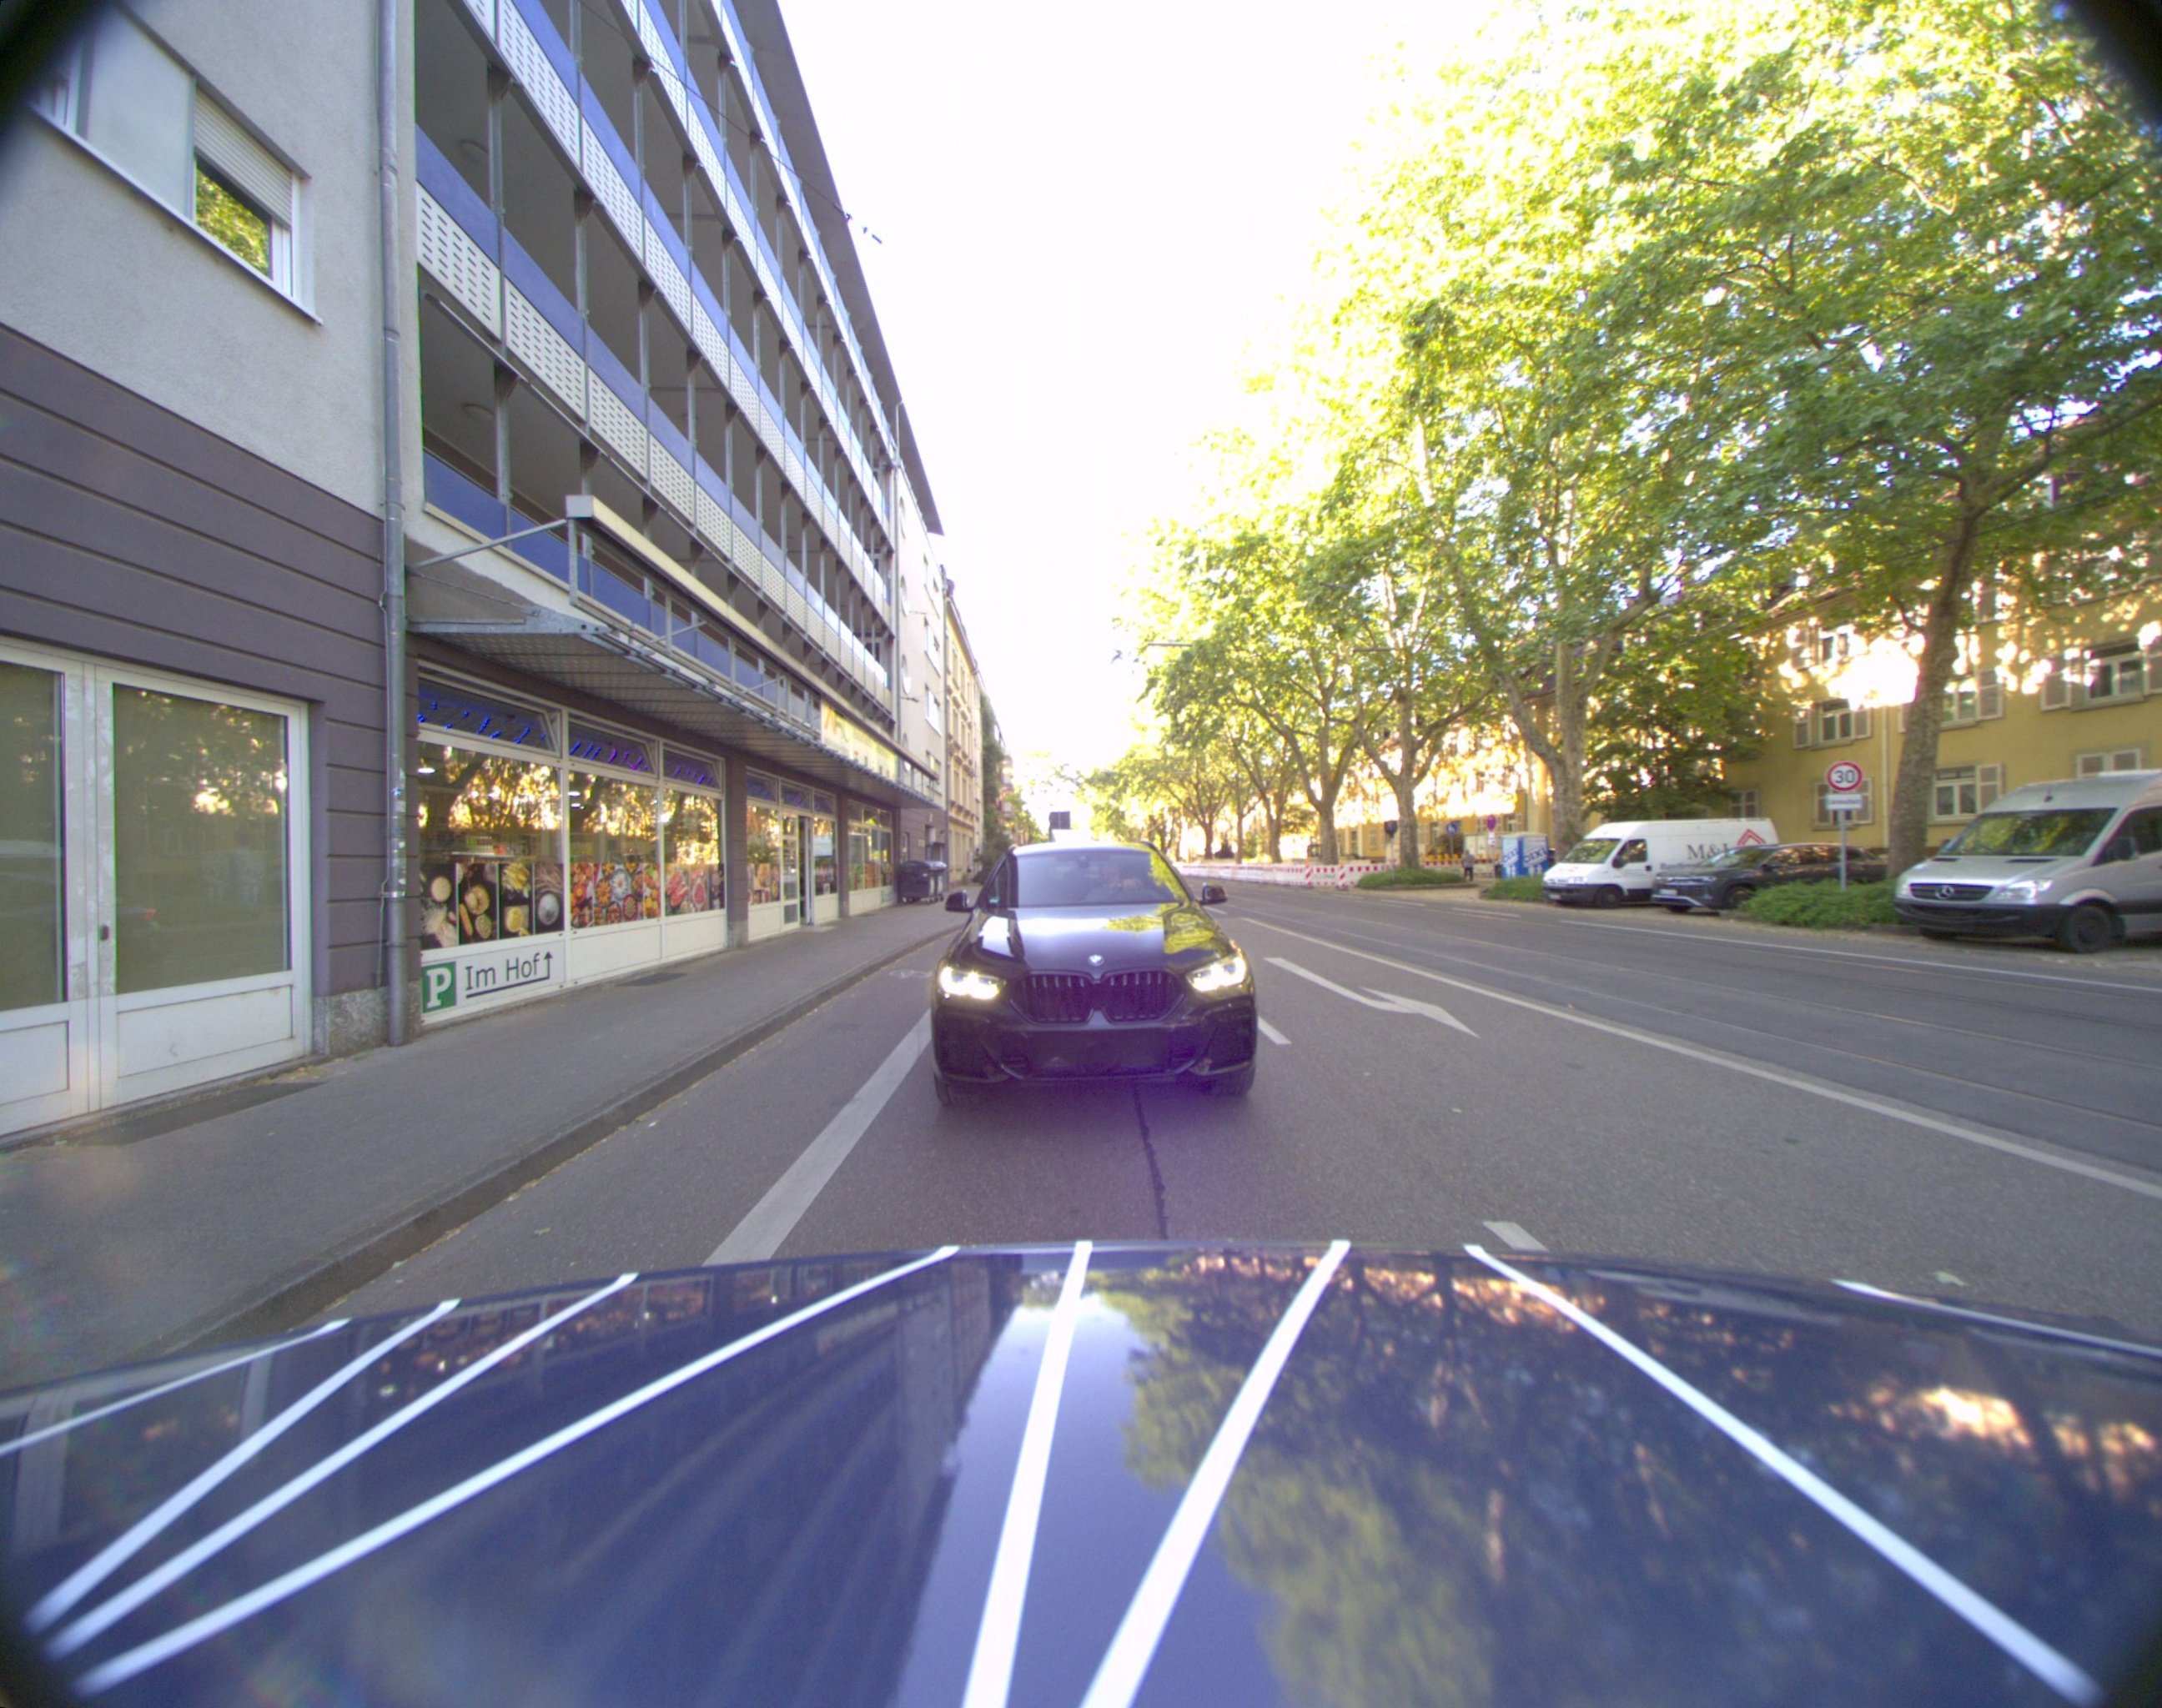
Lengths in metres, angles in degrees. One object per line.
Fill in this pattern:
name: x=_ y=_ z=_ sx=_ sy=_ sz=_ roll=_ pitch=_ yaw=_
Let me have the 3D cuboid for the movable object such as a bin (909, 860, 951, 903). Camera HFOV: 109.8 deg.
movable object such as a bin: x=-5.286 y=0.956 z=26.709 sx=1.122 sy=1.437 sz=1.306 roll=-1 pitch=0 yaw=4

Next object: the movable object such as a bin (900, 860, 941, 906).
movable object such as a bin: x=-5.226 y=0.936 z=24.814 sx=1.069 sy=1.438 sz=1.296 roll=-1 pitch=0 yaw=-1

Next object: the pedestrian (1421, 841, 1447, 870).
pedestrian: x=24.042 y=0.102 z=51.792 sx=1.098 sy=2.002 sz=1.235 roll=-1 pitch=0 yaw=-4

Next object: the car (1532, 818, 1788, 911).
car: x=15.853 y=0.278 z=21.003 sx=5.612 sy=2.361 sz=2.025 roll=-1 pitch=0 yaw=-2

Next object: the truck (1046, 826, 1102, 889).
truck: x=-0.575 y=0.207 z=43.159 sx=2.385 sy=3.165 sz=8.525 roll=2 pitch=0 yaw=-5

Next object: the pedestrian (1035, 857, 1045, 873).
pedestrian: x=-4.544 y=1.236 z=84.333 sx=0.876 sy=1.728 sz=0.848 roll=-3 pitch=1 yaw=1

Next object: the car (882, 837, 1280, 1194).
car: x=0.022 y=0.826 z=6.061 sx=1.943 sy=1.733 sz=4.475 roll=-2 pitch=0 yaw=1

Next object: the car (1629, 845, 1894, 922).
car: x=15.942 y=0.661 z=17.976 sx=4.575 sy=1.621 sz=1.969 roll=-1 pitch=0 yaw=-2

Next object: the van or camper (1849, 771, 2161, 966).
van or camper: x=16.091 y=0.131 z=11.803 sx=6.127 sy=2.661 sz=2.229 roll=-2 pitch=0 yaw=-2

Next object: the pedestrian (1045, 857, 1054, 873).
pedestrian: x=-3.489 y=1.181 z=84.623 sx=0.876 sy=1.728 sz=0.848 roll=-3 pitch=1 yaw=1

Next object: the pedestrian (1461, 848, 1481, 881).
pedestrian: x=18.487 y=0.507 z=36.057 sx=0.596 sy=1.563 sz=0.717 roll=-1 pitch=0 yaw=3
